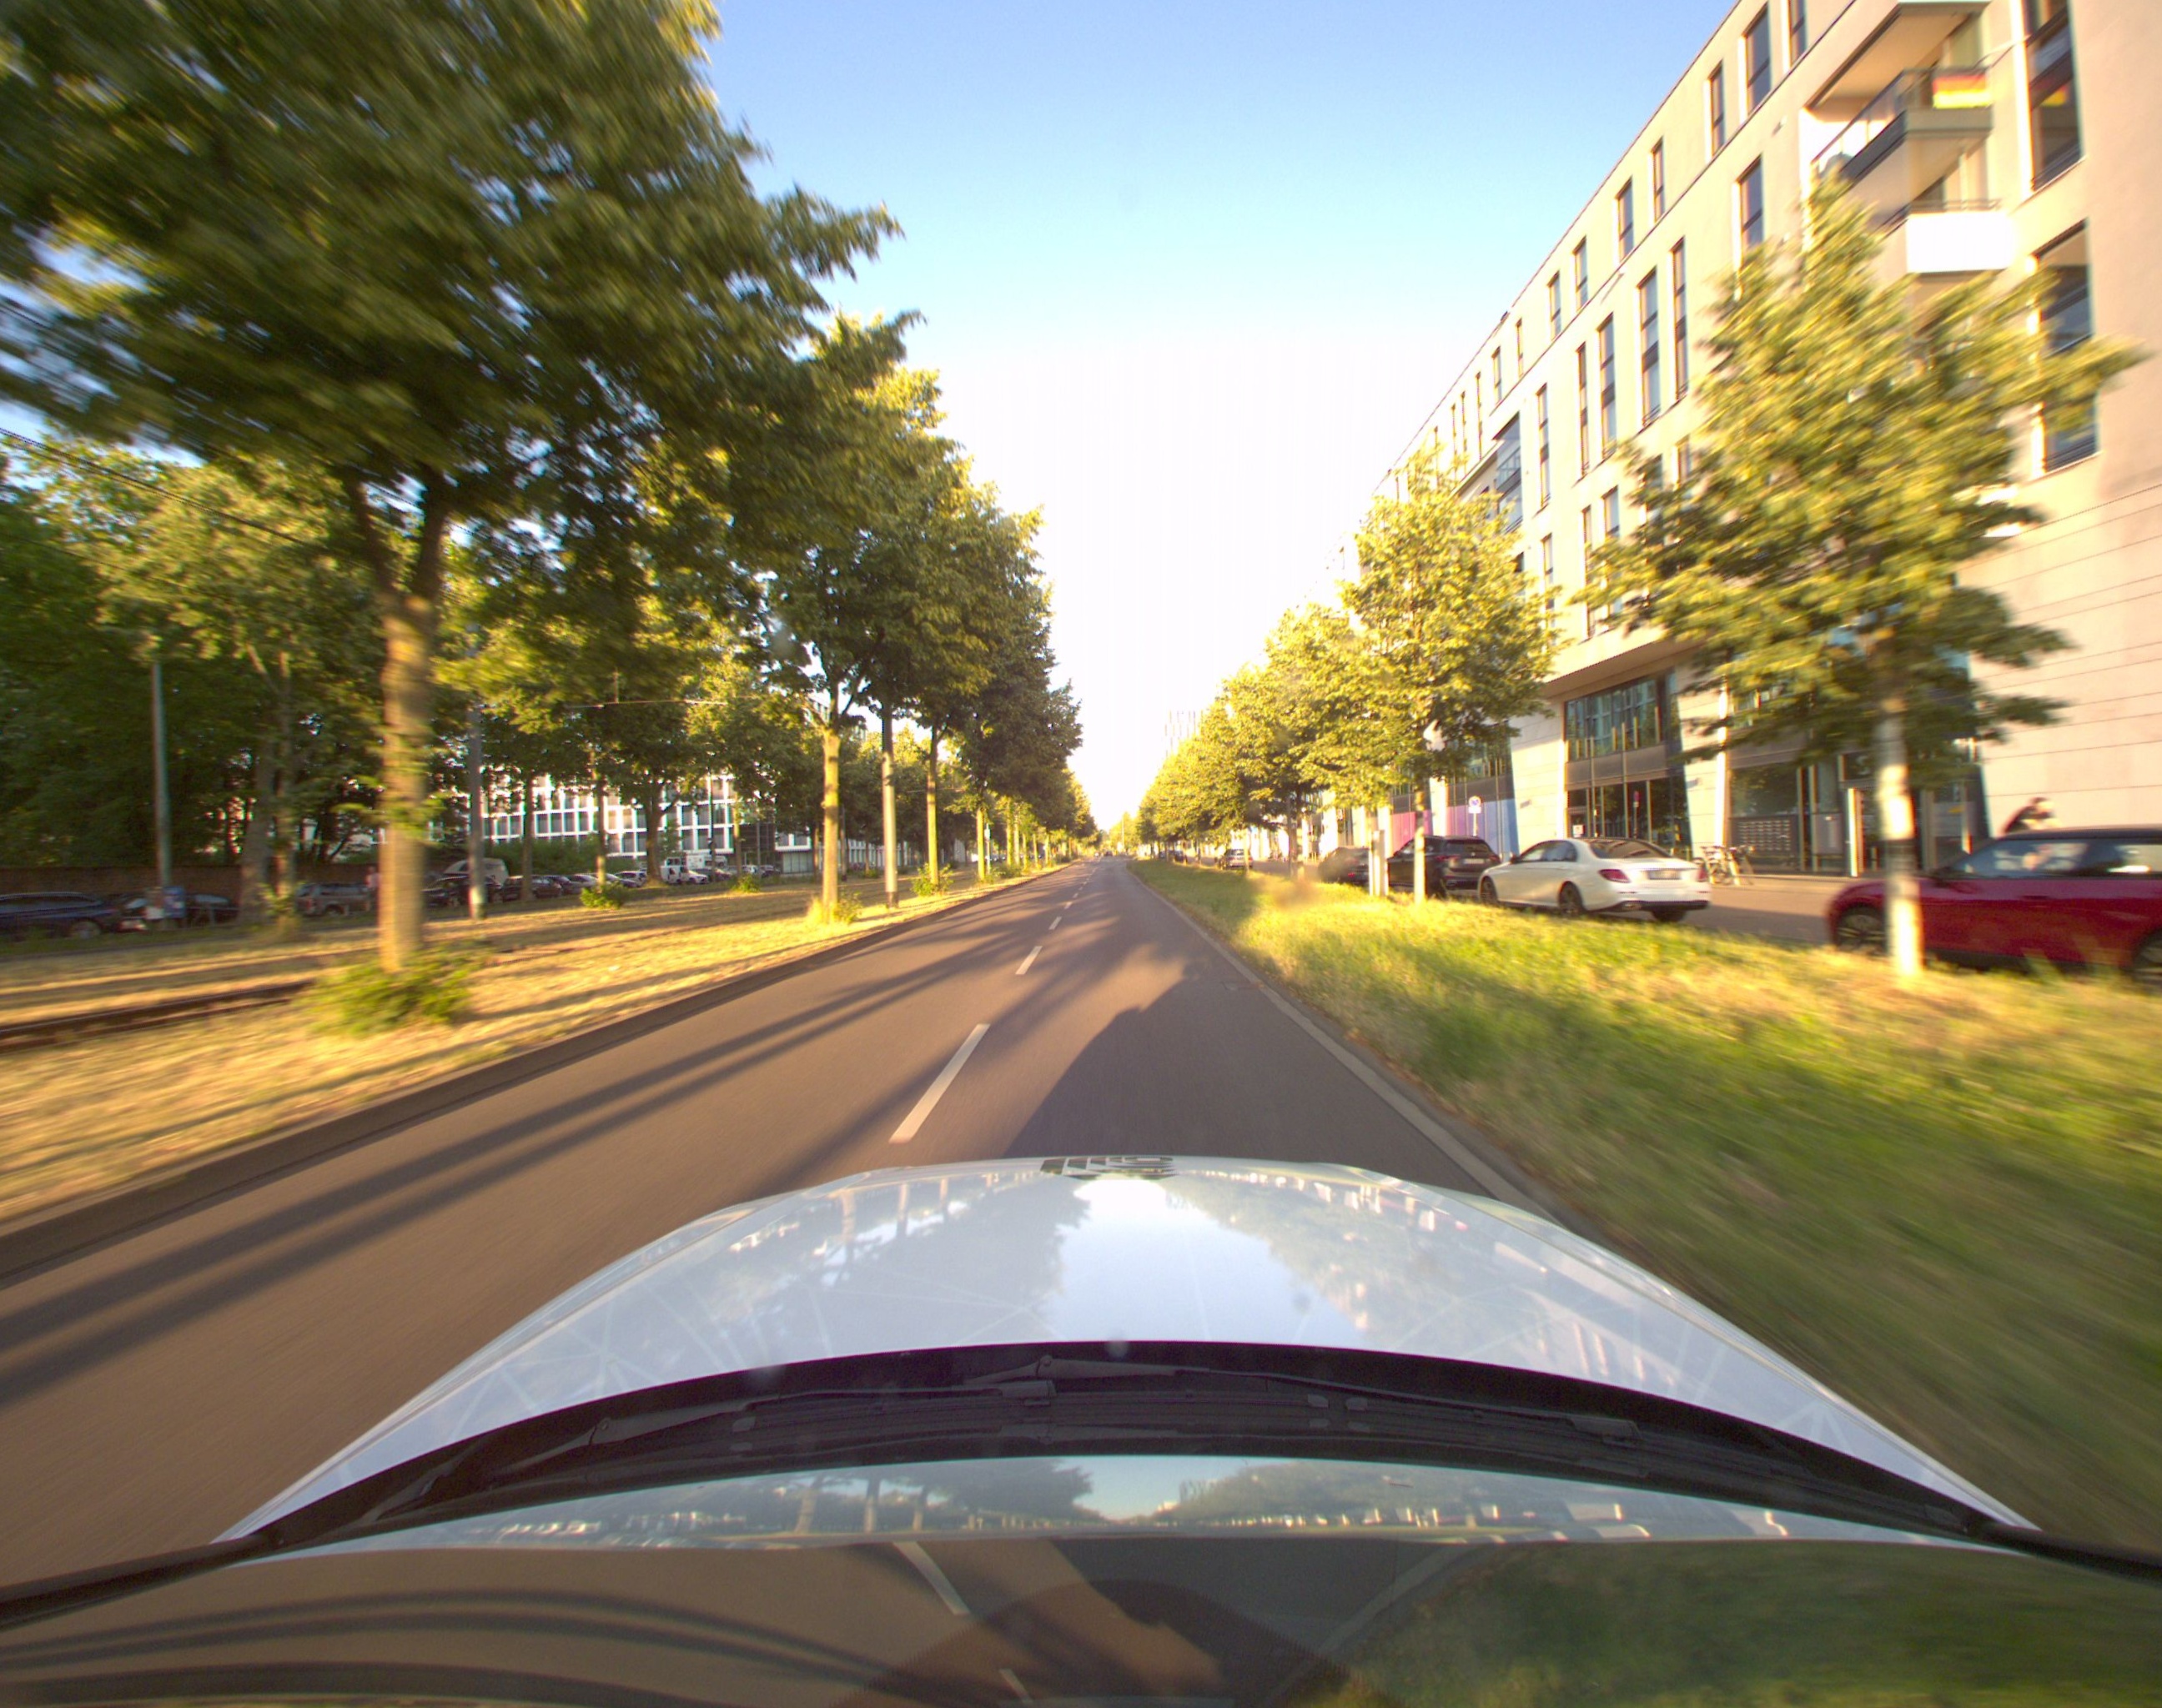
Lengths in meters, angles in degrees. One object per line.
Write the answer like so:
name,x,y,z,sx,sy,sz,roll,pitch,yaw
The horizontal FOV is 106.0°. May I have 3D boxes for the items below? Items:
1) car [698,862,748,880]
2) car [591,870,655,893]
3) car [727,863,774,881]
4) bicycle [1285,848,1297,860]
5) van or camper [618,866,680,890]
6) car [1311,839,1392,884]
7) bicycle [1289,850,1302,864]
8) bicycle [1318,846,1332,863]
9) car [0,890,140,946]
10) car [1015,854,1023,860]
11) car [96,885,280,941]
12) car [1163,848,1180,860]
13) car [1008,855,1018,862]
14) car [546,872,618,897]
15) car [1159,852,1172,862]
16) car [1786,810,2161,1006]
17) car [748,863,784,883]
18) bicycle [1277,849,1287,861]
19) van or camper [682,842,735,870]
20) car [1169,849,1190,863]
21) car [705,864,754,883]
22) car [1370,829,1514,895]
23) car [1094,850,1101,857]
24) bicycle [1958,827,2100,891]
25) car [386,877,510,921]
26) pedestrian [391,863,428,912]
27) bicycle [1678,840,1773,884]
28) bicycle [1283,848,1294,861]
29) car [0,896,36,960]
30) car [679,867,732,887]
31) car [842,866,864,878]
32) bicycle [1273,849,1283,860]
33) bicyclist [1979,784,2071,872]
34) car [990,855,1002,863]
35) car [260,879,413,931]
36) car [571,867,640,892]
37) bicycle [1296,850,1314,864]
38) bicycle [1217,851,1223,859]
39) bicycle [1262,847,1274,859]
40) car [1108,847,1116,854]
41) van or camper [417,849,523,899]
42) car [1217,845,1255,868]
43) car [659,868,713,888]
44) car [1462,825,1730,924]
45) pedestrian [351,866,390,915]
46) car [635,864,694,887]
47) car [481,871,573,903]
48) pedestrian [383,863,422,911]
car,-34.754,1.639,79.073,3.976,1.640,1.921,-2,0,-2
car,-36.334,2.195,64.689,3.976,1.640,1.921,-2,0,-2
car,-33.855,1.833,83.490,3.976,1.640,1.921,-2,0,-2
bicycle,18.726,0.009,72.684,0.531,1.061,1.858,-4,0,2
van or camper,-35.885,1.993,67.737,3.986,1.791,1.994,-2,0,-9
car,9.865,0.238,30.002,1.717,1.501,4.235,-1,0,2
bicycle,17.643,0.247,66.994,0.531,1.061,1.858,-4,0,2
bicycle,17.835,0.019,59.585,0.536,1.164,1.782,-4,0,2
car,-28.750,1.737,21.314,1.984,1.315,5.150,-2,0,6
car,-15.216,0.698,199.778,1.828,1.490,3.505,-2,0,-2
car,-30.232,1.957,27.752,1.793,1.560,3.845,-2,0,7
car,11.970,-0.013,107.455,1.848,1.529,4.484,-1,0,1
car,-14.863,0.969,177.968,1.878,1.578,4.183,-2,0,1
car,-36.235,2.190,59.177,3.970,1.640,1.924,-2,0,3
car,13.124,0.481,126.200,1.718,1.529,4.270,-1,0,1
car,9.171,0.376,7.587,1.802,1.501,3.960,-2,0,1
car,-35.018,2.059,90.742,1.986,2.013,4.933,-2,0,1
bicycle,18.215,0.061,73.822,0.531,1.061,1.858,-4,0,2
van or camper,-43.045,0.197,94.217,2.697,3.085,6.272,-2,0,5
car,12.128,0.267,100.057,1.937,1.549,4.811,-2,0,0
car,-34.955,1.931,80.962,3.976,1.640,1.921,-2,0,-2
car,9.773,0.195,22.514,1.946,1.623,4.822,0,0,1
car,4.680,-0.181,230.299,2.080,2.013,4.001,-2,0,1
bicycle,17.733,0.088,15.311,0.540,1.118,1.915,-2,0,5
car,-29.644,2.057,38.355,1.986,1.750,4.792,-2,0,1
pedestrian,-26.035,1.286,31.575,0.692,1.870,0.864,-2,0,-6
bicycle,16.434,0.194,20.838,0.618,1.033,2.261,-2,0,1
bicycle,18.000,0.044,70.713,0.531,1.061,1.858,-4,0,2
car,-31.397,2.129,21.511,1.983,1.750,4.168,-2,0,7
car,-34.973,2.131,75.963,3.976,1.640,1.921,-2,0,-2
car,-31.729,2.490,113.338,1.852,1.581,3.494,-2,0,3
bicycle,18.485,0.046,76.315,0.531,1.061,1.858,-2,0,2
bicyclist,17.722,-0.473,15.321,0.542,1.568,1.021,-2,0,5
car,-17.222,0.925,165.677,1.911,1.508,4.288,-2,0,1
car,-29.597,1.986,32.584,1.983,1.750,4.168,-2,0,7
car,-35.843,1.902,61.429,3.976,1.640,1.921,-2,0,-2
bicycle,17.825,0.233,64.902,0.533,1.061,1.850,-4,0,-11
bicycle,19.328,0.125,113.353,0.567,1.124,1.840,-4,0,13
bicycle,17.733,-0.105,77.218,0.533,1.061,1.776,-4,0,-7
car,8.149,-0.930,214.650,1.986,2.013,4.001,-2,0,1
van or camper,-36.256,1.114,48.569,2.078,2.735,5.494,-2,0,0
car,10.630,0.150,56.183,1.802,1.501,4.826,-2,0,1
car,-35.648,2.171,73.544,3.964,1.640,1.927,-2,0,8
car,9.268,0.311,15.310,1.914,1.501,5.011,-2,0,1
pedestrian,-26.710,1.357,30.631,0.692,1.759,0.864,-2,0,-6
car,-36.161,1.868,70.786,3.971,1.844,2.013,-2,0,2
car,-29.805,1.742,43.955,1.984,1.486,4.005,-2,0,5
pedestrian,-25.407,1.211,30.495,0.691,1.743,0.866,-2,0,-1
